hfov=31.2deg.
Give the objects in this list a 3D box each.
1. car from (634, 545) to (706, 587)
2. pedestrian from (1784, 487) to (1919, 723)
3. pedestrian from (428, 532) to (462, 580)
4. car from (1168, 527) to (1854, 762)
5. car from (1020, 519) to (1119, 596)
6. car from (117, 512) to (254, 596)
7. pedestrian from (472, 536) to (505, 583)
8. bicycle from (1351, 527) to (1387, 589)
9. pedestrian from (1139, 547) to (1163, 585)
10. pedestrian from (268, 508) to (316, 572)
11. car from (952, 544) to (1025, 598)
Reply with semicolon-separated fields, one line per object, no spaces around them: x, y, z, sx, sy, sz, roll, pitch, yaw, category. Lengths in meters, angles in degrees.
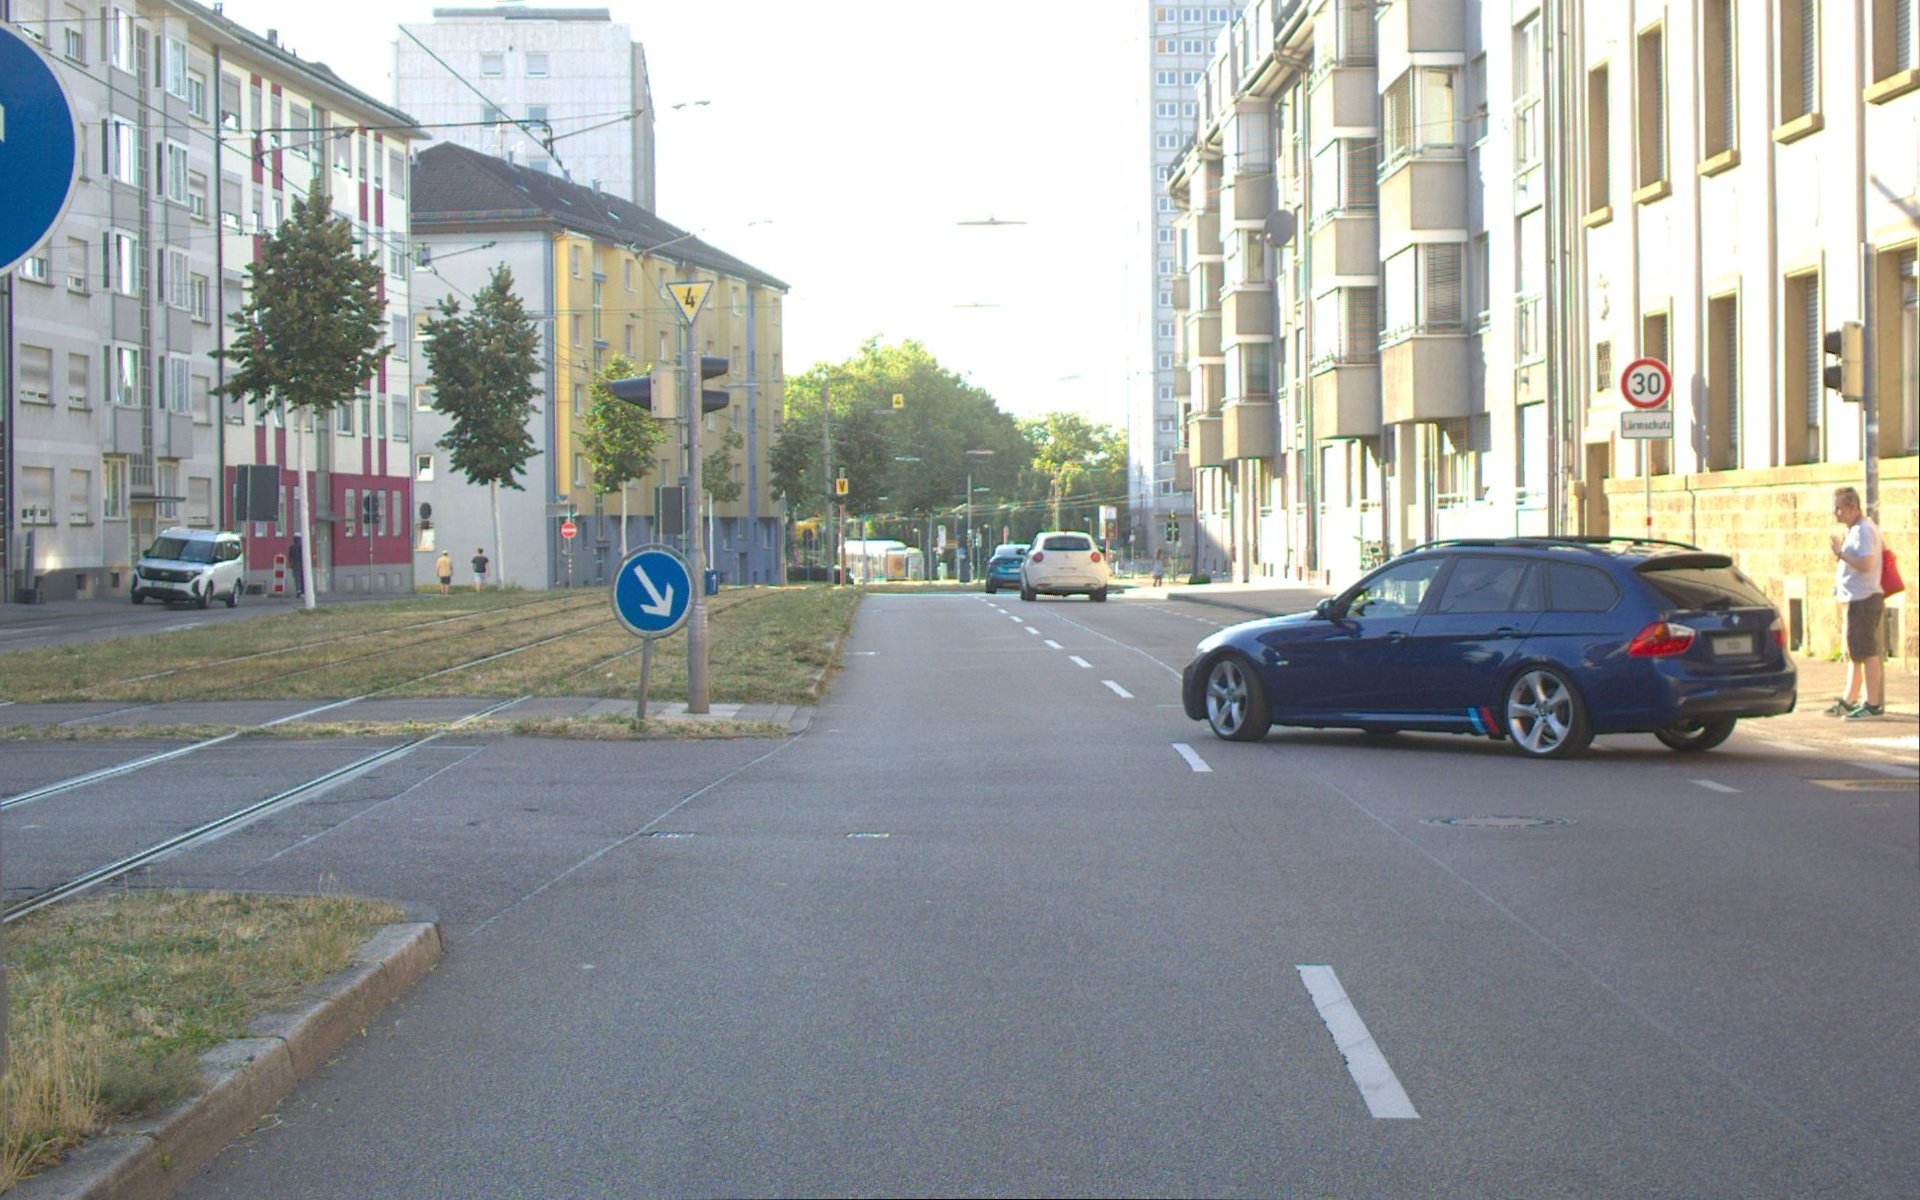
-11.718;-1.378;139.132;1.898;1.628;4.746;-1;1;8;car
6.801;0.033;26.164;0.835;1.756;0.824;1;0;-1;pedestrian
-18.245;-1.544;121.752;0.962;1.688;1.011;1;0;5;pedestrian
3.678;0.244;23.509;1.927;1.451;4.325;0;1;-44;car
2.294;-0.896;73.016;1.993;1.558;4.000;1;1;1;car
-18.347;-1.087;81.637;1.994;1.918;4.541;1;1;3;car
-16.818;-1.449;122.690;0.962;1.664;1.011;1;0;5;pedestrian
7.364;-0.763;61.954;0.383;1.092;1.504;-1;1;-3;bicycle
6.111;-1.090;109.996;0.691;1.230;0.736;1;0;0;pedestrian
-18.801;-1.690;96.773;1.269;1.755;1.274;1;0;-10;pedestrian
0.823;-0.872;101.805;1.993;1.549;4.394;1;1;-1;car
